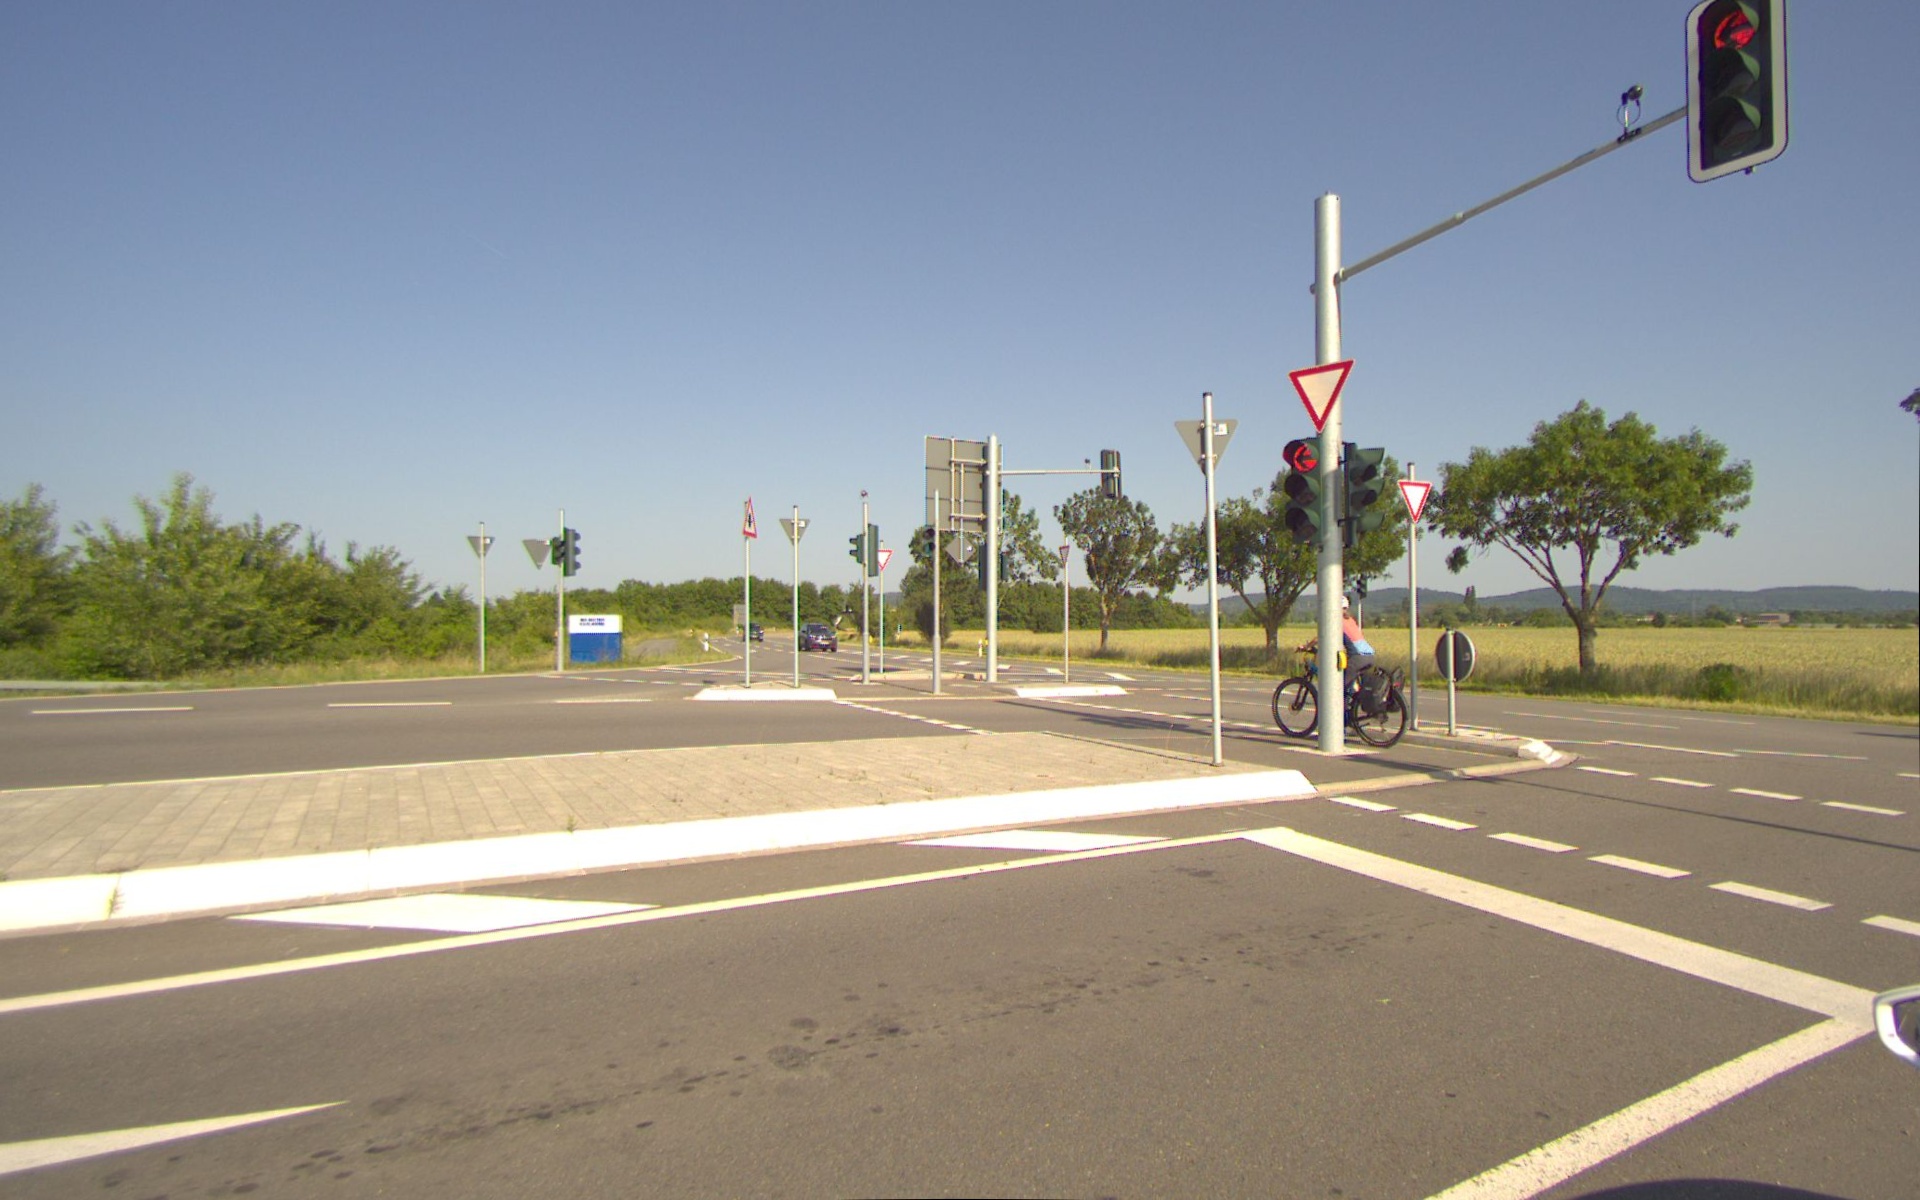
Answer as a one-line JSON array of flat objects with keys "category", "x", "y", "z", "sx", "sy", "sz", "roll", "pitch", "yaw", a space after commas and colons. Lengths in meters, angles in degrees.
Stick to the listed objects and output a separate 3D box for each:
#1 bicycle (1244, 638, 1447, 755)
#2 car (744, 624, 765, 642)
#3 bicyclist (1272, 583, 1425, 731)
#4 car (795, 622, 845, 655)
[{"category": "bicycle", "x": 4.554, "y": 1.097, "z": 12.034, "sx": 0.881, "sy": 1.202, "sz": 2.142, "roll": 2, "pitch": -1, "yaw": -34}, {"category": "car", "x": -19.834, "y": 3.213, "z": 96.720, "sx": 1.740, "sy": 1.578, "sz": 3.843, "roll": 2, "pitch": -3, "yaw": -15}, {"category": "bicyclist", "x": 4.585, "y": 0.632, "z": 11.883, "sx": 1.153, "sy": 1.623, "sz": 1.271, "roll": 0, "pitch": 0, "yaw": -34}, {"category": "car", "x": -8.435, "y": 2.277, "z": 60.182, "sx": 1.970, "sy": 1.746, "sz": 4.597, "roll": 2, "pitch": 0, "yaw": -20}]
